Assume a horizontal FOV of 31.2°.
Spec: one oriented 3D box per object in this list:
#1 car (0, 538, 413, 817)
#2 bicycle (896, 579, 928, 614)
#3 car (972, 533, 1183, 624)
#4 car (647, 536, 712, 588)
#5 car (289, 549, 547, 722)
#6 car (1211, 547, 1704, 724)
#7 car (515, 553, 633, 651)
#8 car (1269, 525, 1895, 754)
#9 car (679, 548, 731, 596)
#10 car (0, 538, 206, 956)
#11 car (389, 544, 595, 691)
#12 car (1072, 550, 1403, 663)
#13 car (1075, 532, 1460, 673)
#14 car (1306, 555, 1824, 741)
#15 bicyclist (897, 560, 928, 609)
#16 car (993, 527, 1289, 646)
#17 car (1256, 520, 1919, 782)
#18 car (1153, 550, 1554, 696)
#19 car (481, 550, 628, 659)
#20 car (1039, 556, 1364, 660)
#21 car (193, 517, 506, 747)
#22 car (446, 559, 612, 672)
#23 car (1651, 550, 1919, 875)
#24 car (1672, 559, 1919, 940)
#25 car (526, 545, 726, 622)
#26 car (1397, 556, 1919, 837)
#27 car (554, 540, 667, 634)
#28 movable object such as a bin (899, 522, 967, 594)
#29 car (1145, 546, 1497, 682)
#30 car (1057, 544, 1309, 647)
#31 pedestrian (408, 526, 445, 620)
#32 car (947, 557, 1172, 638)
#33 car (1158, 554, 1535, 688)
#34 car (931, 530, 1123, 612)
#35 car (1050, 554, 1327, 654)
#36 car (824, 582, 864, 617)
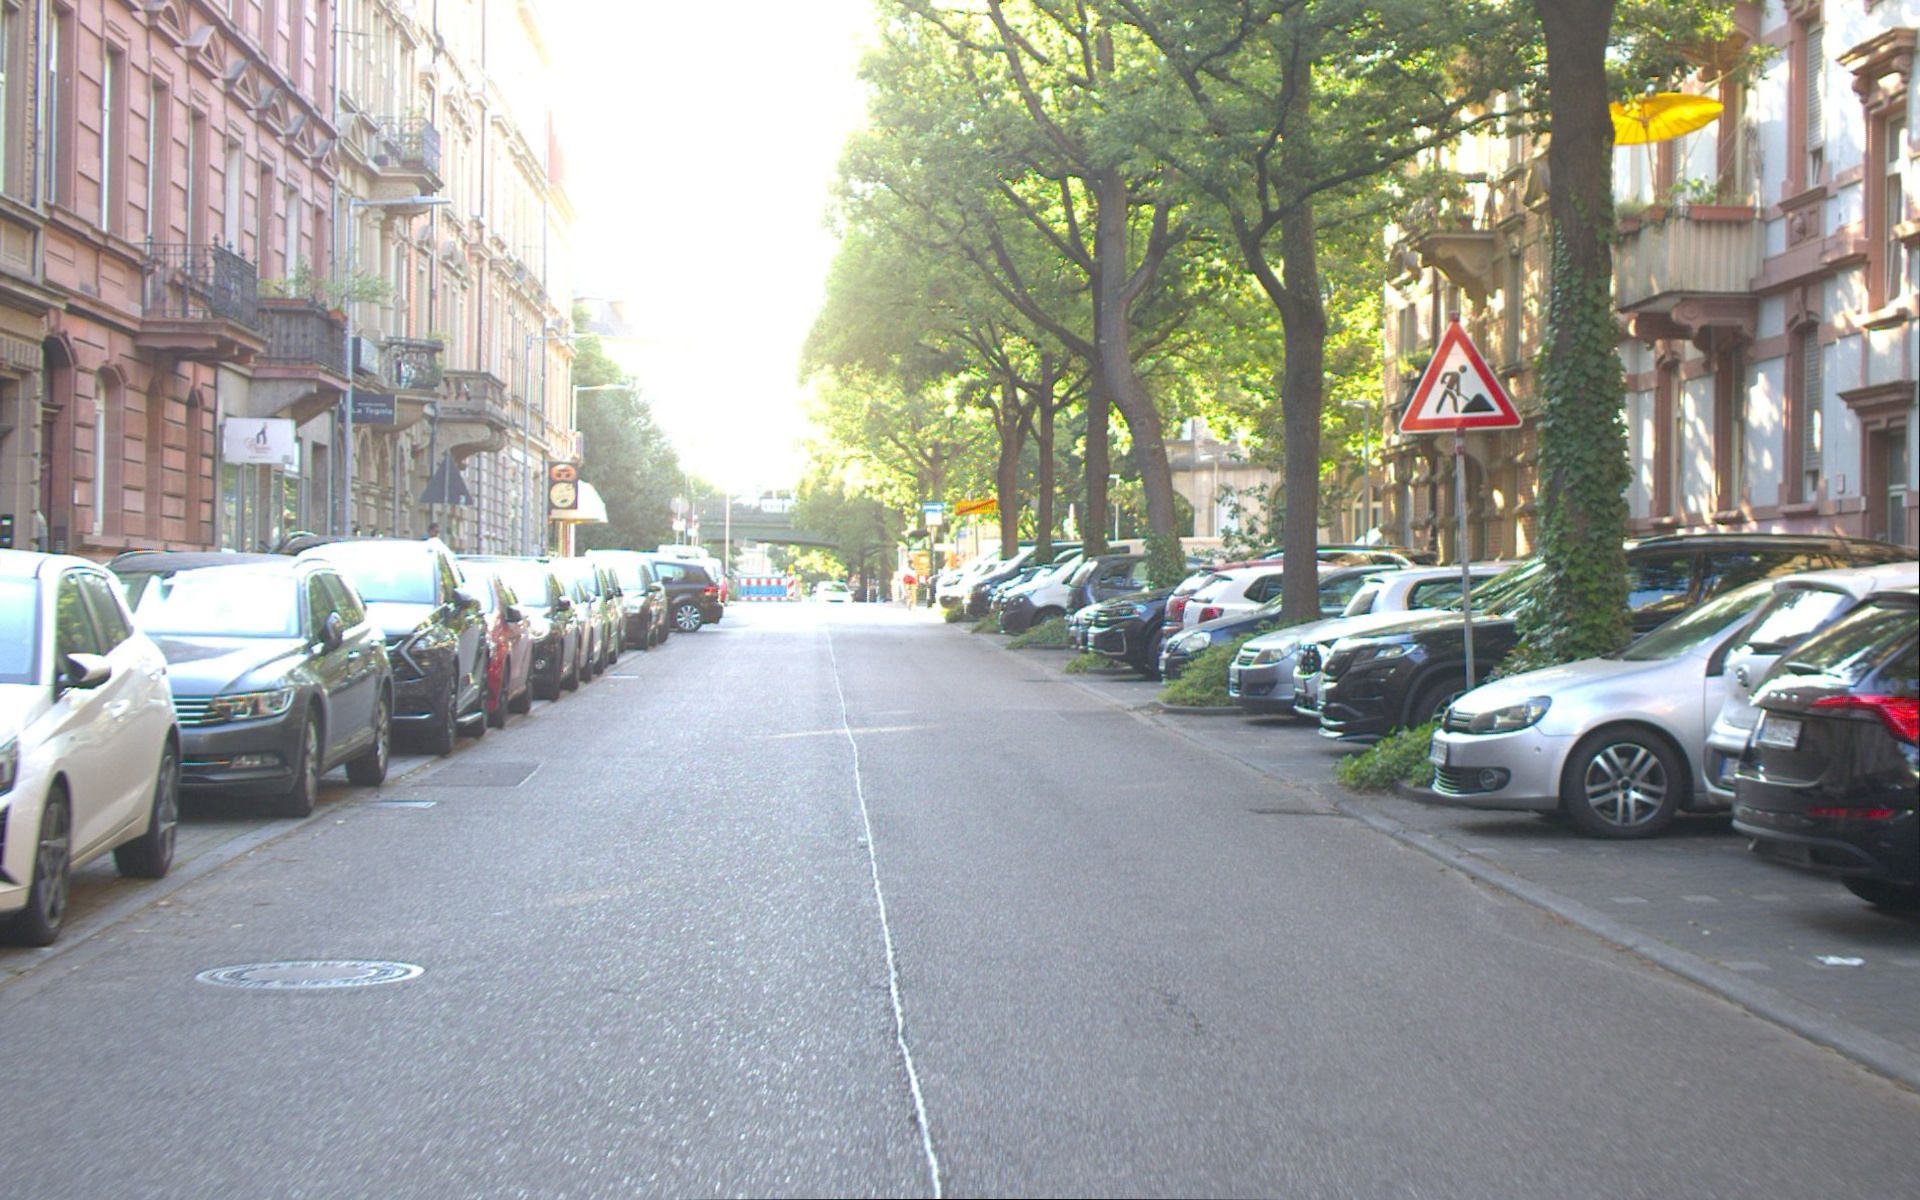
[{"bbox_3d":[-4.519,0.377,20.579,1.862,1.467,4.489,1,1,-1],"label":"car"},{"bbox_3d":[-1.389,-0.097,99.080,0.803,0.965,2.109,2,0,-3],"label":"bicycle"},{"bbox_3d":[2.681,-0.502,79.116,4.614,2.007,2.000,1,1,-5],"label":"car"},{"bbox_3d":[-8.028,-1.101,98.536,1.764,1.432,4.301,1,1,-4],"label":"car"},{"bbox_3d":[-4.920,0.274,31.719,1.821,1.421,4.314,2,1,-3],"label":"car"},{"bbox_3d":[4.593,0.314,32.090,4.221,1.530,1.801,1,1,-5],"label":"car"},{"bbox_3d":[-6.070,-0.003,54.353,1.581,1.468,4.001,1,1,-3],"label":"car"},{"bbox_3d":[4.798,0.313,26.930,4.475,1.650,1.892,1,-1,-3],"label":"car"},{"bbox_3d":[-8.477,-0.915,114.087,1.669,1.525,4.001,1,0,-5],"label":"car"},{"bbox_3d":[-4.321,0.477,14.117,1.756,1.467,4.089,1,1,-3],"label":"car"},{"bbox_3d":[-5.139,0.148,38.262,1.821,1.472,4.424,2,1,-3],"label":"car"},{"bbox_3d":[3.936,0.083,49.331,4.552,1.524,2.000,1,1,-1],"label":"car"},{"bbox_3d":[3.922,0.011,44.253,4.644,1.697,1.882,-1,1,-6],"label":"car"},{"bbox_3d":[5.150,0.389,29.629,4.100,1.464,1.801,1,1,-1],"label":"car"},{"bbox_3d":[-1.369,-0.436,98.947,0.803,1.378,0.985,2,0,-3],"label":"bicyclist"},{"bbox_3d":[3.192,-0.224,61.509,5.091,1.933,2.158,1,-3,-2],"label":"car"},{"bbox_3d":[4.376,0.351,23.643,4.476,1.650,1.891,1,-1,0],"label":"car"},{"bbox_3d":[4.155,0.226,36.647,3.986,1.383,1.678,-2,1,-3],"label":"car"},{"bbox_3d":[-5.596,0.030,47.807,1.705,1.434,3.959,1,1,-2],"label":"car"},{"bbox_3d":[3.643,0.110,52.322,4.658,1.498,1.932,1,1,-5],"label":"car"},{"bbox_3d":[-4.720,0.199,27.123,1.821,1.595,4.314,2,1,-3],"label":"car"},{"bbox_3d":[-5.358,0.161,43.134,1.705,1.318,4.101,1,1,-2],"label":"car"},{"bbox_3d":[5.594,0.534,16.850,3.986,1.490,1.687,1,1,-5],"label":"car"},{"bbox_3d":[5.280,0.542,14.346,4.144,1.450,1.937,-1,1,-3],"label":"car"},{"bbox_3d":[-6.827,-0.336,70.060,3.986,1.524,1.826,0,1,-8],"label":"car"},{"bbox_3d":[4.571,0.517,19.197,3.986,1.451,1.687,1,1,-1],"label":"car"},{"bbox_3d":[-5.986,-0.242,59.238,1.647,1.468,4.001,4,1,-3],"label":"car"},{"bbox_3d":[-1.015,-1.605,131.989,1.994,2.690,3.109,1,0,11],"label":"movable object such as a bin"},{"bbox_3d":[4.373,0.159,41.965,3.986,1.585,1.783,1,1,-5],"label":"car"},{"bbox_3d":[3.673,-0.084,56.946,3.883,1.643,1.725,1,1,-7],"label":"car"},{"bbox_3d":[-10.755,-0.540,69.342,0.638,1.881,0.592,1,1,-18],"label":"pedestrian"},{"bbox_3d":[1.865,-0.066,65.273,3.986,1.469,1.782,-1,1,-10],"label":"car"},{"bbox_3d":[4.385,0.229,39.368,3.986,1.457,1.783,1,1,-5],"label":"car"},{"bbox_3d":[1.760,-0.778,91.875,4.973,2.089,2.106,1,1,-2],"label":"car"},{"bbox_3d":[3.593,0.052,54.496,4.104,1.498,1.811,1,1,-7],"label":"car"},{"bbox_3d":[-5.290,-0.040,156.311,1.749,1.504,4.000,1,1,-3],"label":"car"}]
